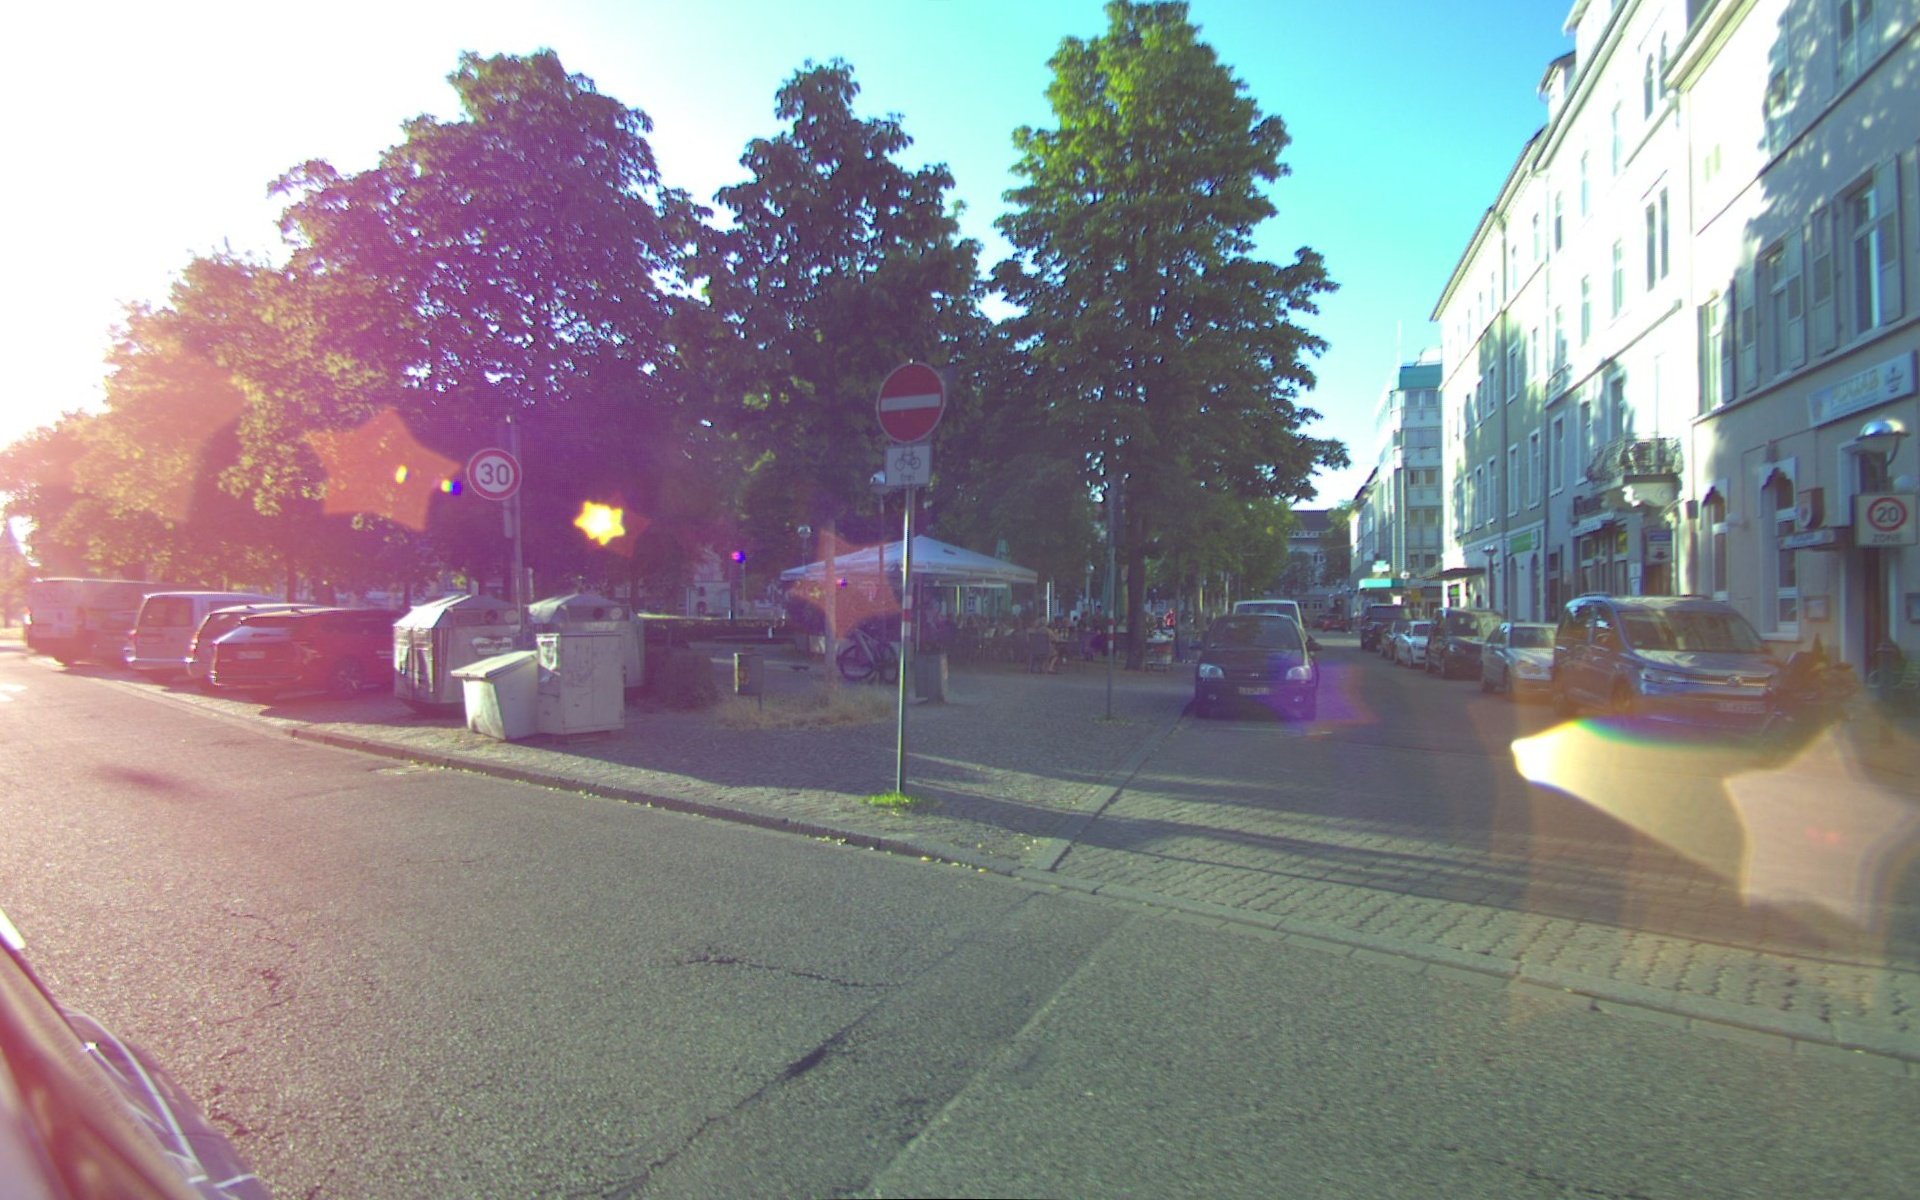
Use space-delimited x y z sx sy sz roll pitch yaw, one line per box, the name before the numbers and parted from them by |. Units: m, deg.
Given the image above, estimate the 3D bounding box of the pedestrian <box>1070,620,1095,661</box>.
pedestrian | 3.581 1.194 29.609 0.527 1.183 0.527 3 -3 -41

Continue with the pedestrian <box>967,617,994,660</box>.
pedestrian | 0.578 1.080 28.586 0.527 1.183 0.527 1 -1 -41

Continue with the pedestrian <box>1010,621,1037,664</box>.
pedestrian | 1.753 1.171 27.930 0.527 1.183 0.527 3 -3 -41

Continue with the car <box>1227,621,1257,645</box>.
car | 15.003 1.741 53.756 1.324 1.135 2.952 -1 0 19

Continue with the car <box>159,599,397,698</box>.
car | -13.155 0.862 19.855 1.728 1.709 3.993 -1 0 6

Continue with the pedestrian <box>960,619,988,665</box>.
pedestrian | 0.371 1.104 26.734 0.527 1.183 0.527 3 -3 -41

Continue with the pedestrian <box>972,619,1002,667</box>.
pedestrian | 0.688 1.088 25.528 0.527 1.183 0.527 3 -3 -41

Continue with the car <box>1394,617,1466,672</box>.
car | 14.203 1.308 30.723 1.600 1.493 3.593 -1 0 19

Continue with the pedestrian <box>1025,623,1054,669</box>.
pedestrian | 2.095 1.200 26.583 0.556 1.200 0.523 2 -2 -41

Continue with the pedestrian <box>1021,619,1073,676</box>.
pedestrian | 1.889 1.031 21.999 0.850 1.208 0.787 -1 -3 37

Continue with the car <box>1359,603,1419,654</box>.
car | 17.915 1.148 42.439 1.984 2.029 3.975 -1 0 19

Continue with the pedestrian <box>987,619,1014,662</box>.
pedestrian | 1.128 1.134 28.194 0.527 1.183 0.527 3 -3 -41

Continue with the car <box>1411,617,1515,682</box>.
car | 12.685 1.204 25.755 1.825 1.451 3.956 -1 0 19

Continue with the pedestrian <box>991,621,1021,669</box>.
pedestrian | 1.142 1.117 25.046 0.527 1.183 0.527 3 -3 -41

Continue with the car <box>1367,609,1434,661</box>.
car | 15.897 1.236 36.665 1.863 1.741 3.929 -1 0 19

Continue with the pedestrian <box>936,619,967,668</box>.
pedestrian | -0.209 1.056 24.604 0.527 1.163 0.527 3 -3 -41

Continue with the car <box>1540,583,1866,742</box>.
car | 9.302 0.707 13.203 1.942 1.690 4.410 -1 -1 16

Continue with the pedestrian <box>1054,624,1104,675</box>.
pedestrian | 2.745 1.126 23.314 0.850 1.140 0.787 -1 -3 37

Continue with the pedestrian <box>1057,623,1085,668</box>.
pedestrian | 2.958 1.223 27.027 0.527 1.183 0.527 3 -3 -41

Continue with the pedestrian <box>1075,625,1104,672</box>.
pedestrian | 3.335 1.229 26.005 0.527 1.183 0.527 1 -1 -41

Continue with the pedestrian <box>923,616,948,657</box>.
pedestrian | -0.712 1.043 29.269 0.527 1.183 0.527 1 -1 -41

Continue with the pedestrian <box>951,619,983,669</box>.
pedestrian | 0.171 1.050 24.190 0.527 1.164 0.527 3 -3 -41

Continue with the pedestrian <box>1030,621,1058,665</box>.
pedestrian | 2.285 1.179 27.582 0.527 1.183 0.527 3 -3 -41

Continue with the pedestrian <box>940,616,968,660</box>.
pedestrian | -0.163 1.018 27.068 0.527 1.183 0.527 3 -3 -41

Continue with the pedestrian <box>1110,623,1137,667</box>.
pedestrian | 4.461 1.233 27.619 0.527 1.183 0.527 3 -3 -41

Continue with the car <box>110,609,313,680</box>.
car | -17.902 1.018 24.479 1.826 1.503 3.996 -1 0 3

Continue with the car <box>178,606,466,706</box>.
car | -10.726 0.874 17.411 1.980 1.497 3.984 0 -1 12

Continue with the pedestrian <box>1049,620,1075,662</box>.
pedestrian | 2.947 1.177 29.127 0.527 1.183 0.527 3 -3 -41

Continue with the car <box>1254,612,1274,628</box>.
car | 32.070 2.079 106.704 1.983 1.719 3.977 0 -1 18

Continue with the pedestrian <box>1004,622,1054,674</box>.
pedestrian | 1.570 1.086 23.080 0.850 1.167 0.787 -1 -3 37

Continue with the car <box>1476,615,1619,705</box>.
car | 10.620 1.013 18.554 1.529 1.422 3.813 -1 0 19

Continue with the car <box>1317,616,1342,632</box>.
car | 30.743 1.978 84.144 1.891 1.343 3.699 0 -1 20

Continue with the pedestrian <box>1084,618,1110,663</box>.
pedestrian | 3.878 1.149 28.692 0.527 1.285 0.527 3 -3 -41

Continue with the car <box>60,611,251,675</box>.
car | -20.823 1.059 26.436 1.856 1.479 4.000 -1 0 0

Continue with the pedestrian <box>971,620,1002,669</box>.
pedestrian | 0.645 1.073 24.582 0.527 1.164 0.527 4 -3 -41

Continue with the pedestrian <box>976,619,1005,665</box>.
pedestrian | 0.783 1.101 26.339 0.527 1.183 0.527 3 -3 -41

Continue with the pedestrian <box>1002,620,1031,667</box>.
pedestrian | 1.446 1.113 26.042 0.527 1.183 0.527 3 -3 -41

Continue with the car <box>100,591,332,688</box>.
car | -15.816 0.786 21.799 1.848 1.892 3.993 -1 0 6

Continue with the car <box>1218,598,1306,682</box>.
car | 8.127 0.979 26.935 2.027 2.002 4.801 -1 0 19

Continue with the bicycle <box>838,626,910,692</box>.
bicycle | -1.528 1.010 17.677 0.355 1.076 1.814 -1 -1 -36

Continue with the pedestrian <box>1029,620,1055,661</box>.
pedestrian | 2.384 1.173 29.495 0.527 1.183 0.527 3 -3 -41

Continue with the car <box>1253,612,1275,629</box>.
car | 30.203 2.052 100.625 1.983 1.630 3.977 -2 -1 18

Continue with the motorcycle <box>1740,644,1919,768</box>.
motorcycle | 8.706 0.995 10.000 2.062 1.038 0.749 -1 -1 -27

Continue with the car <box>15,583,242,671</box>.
car | -23.390 0.705 28.719 2.182 2.268 4.591 -1 0 15

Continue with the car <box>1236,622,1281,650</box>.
car | 12.620 1.513 42.712 1.637 1.063 3.574 -1 0 19

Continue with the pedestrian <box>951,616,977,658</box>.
pedestrian | 0.104 1.052 29.002 0.527 1.183 0.527 1 -1 -41

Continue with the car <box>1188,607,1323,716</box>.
car | 4.464 0.817 15.070 1.693 1.391 3.503 -1 0 19
